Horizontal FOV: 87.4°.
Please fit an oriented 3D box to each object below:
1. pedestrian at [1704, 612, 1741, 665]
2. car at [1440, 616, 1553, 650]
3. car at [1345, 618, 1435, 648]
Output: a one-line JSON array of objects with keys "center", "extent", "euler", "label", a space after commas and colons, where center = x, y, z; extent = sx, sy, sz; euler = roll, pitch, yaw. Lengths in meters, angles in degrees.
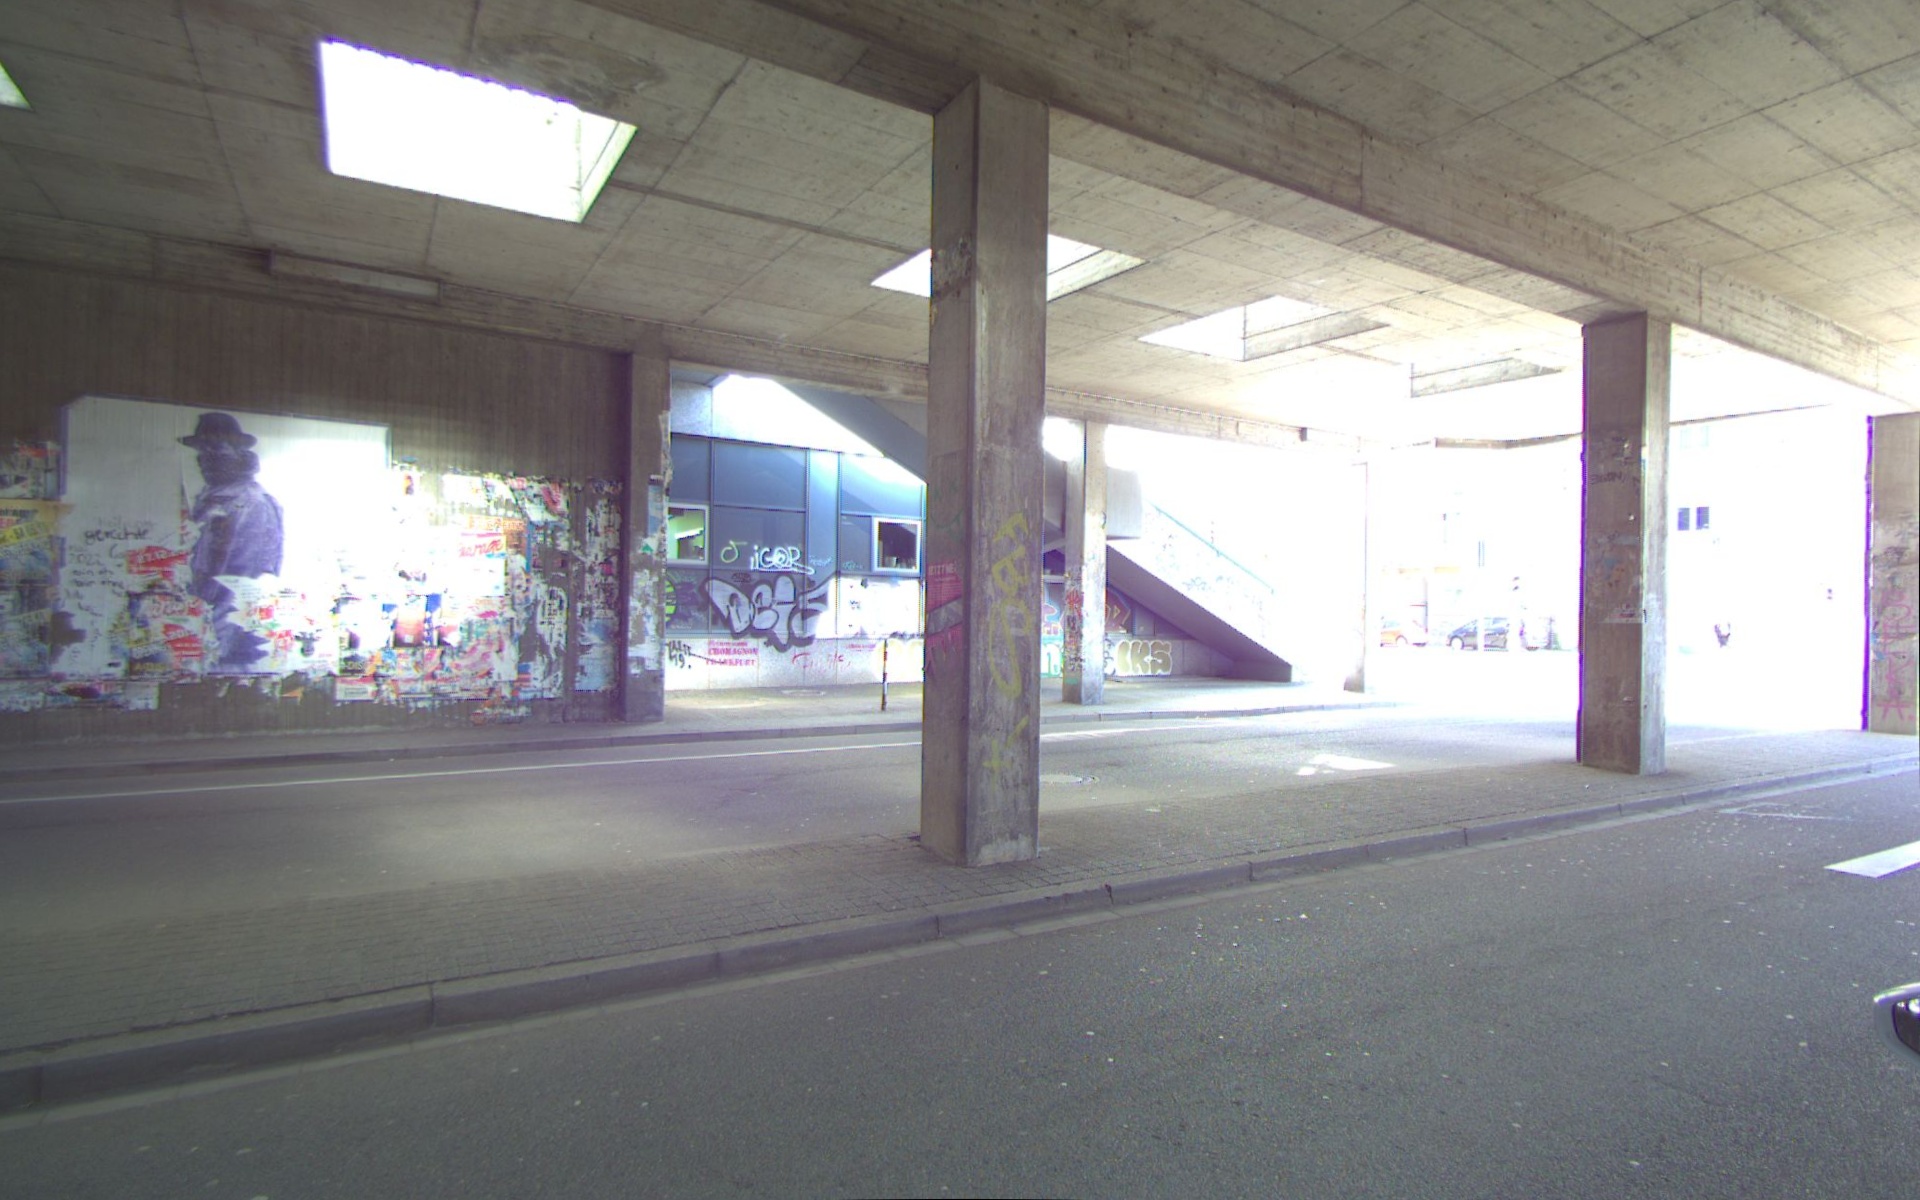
[{"center": [24.343, 1.222, 32.074], "extent": [0.732, 1.659, 0.669], "euler": [2, 0, -30], "label": "pedestrian"}, {"center": [25.429, 1.565, 47.770], "extent": [1.905, 1.428, 4.382], "euler": [2, 0, -32], "label": "car"}, {"center": [22.507, 1.713, 52.717], "extent": [1.905, 1.428, 3.965], "euler": [2, 0, -32], "label": "car"}]
